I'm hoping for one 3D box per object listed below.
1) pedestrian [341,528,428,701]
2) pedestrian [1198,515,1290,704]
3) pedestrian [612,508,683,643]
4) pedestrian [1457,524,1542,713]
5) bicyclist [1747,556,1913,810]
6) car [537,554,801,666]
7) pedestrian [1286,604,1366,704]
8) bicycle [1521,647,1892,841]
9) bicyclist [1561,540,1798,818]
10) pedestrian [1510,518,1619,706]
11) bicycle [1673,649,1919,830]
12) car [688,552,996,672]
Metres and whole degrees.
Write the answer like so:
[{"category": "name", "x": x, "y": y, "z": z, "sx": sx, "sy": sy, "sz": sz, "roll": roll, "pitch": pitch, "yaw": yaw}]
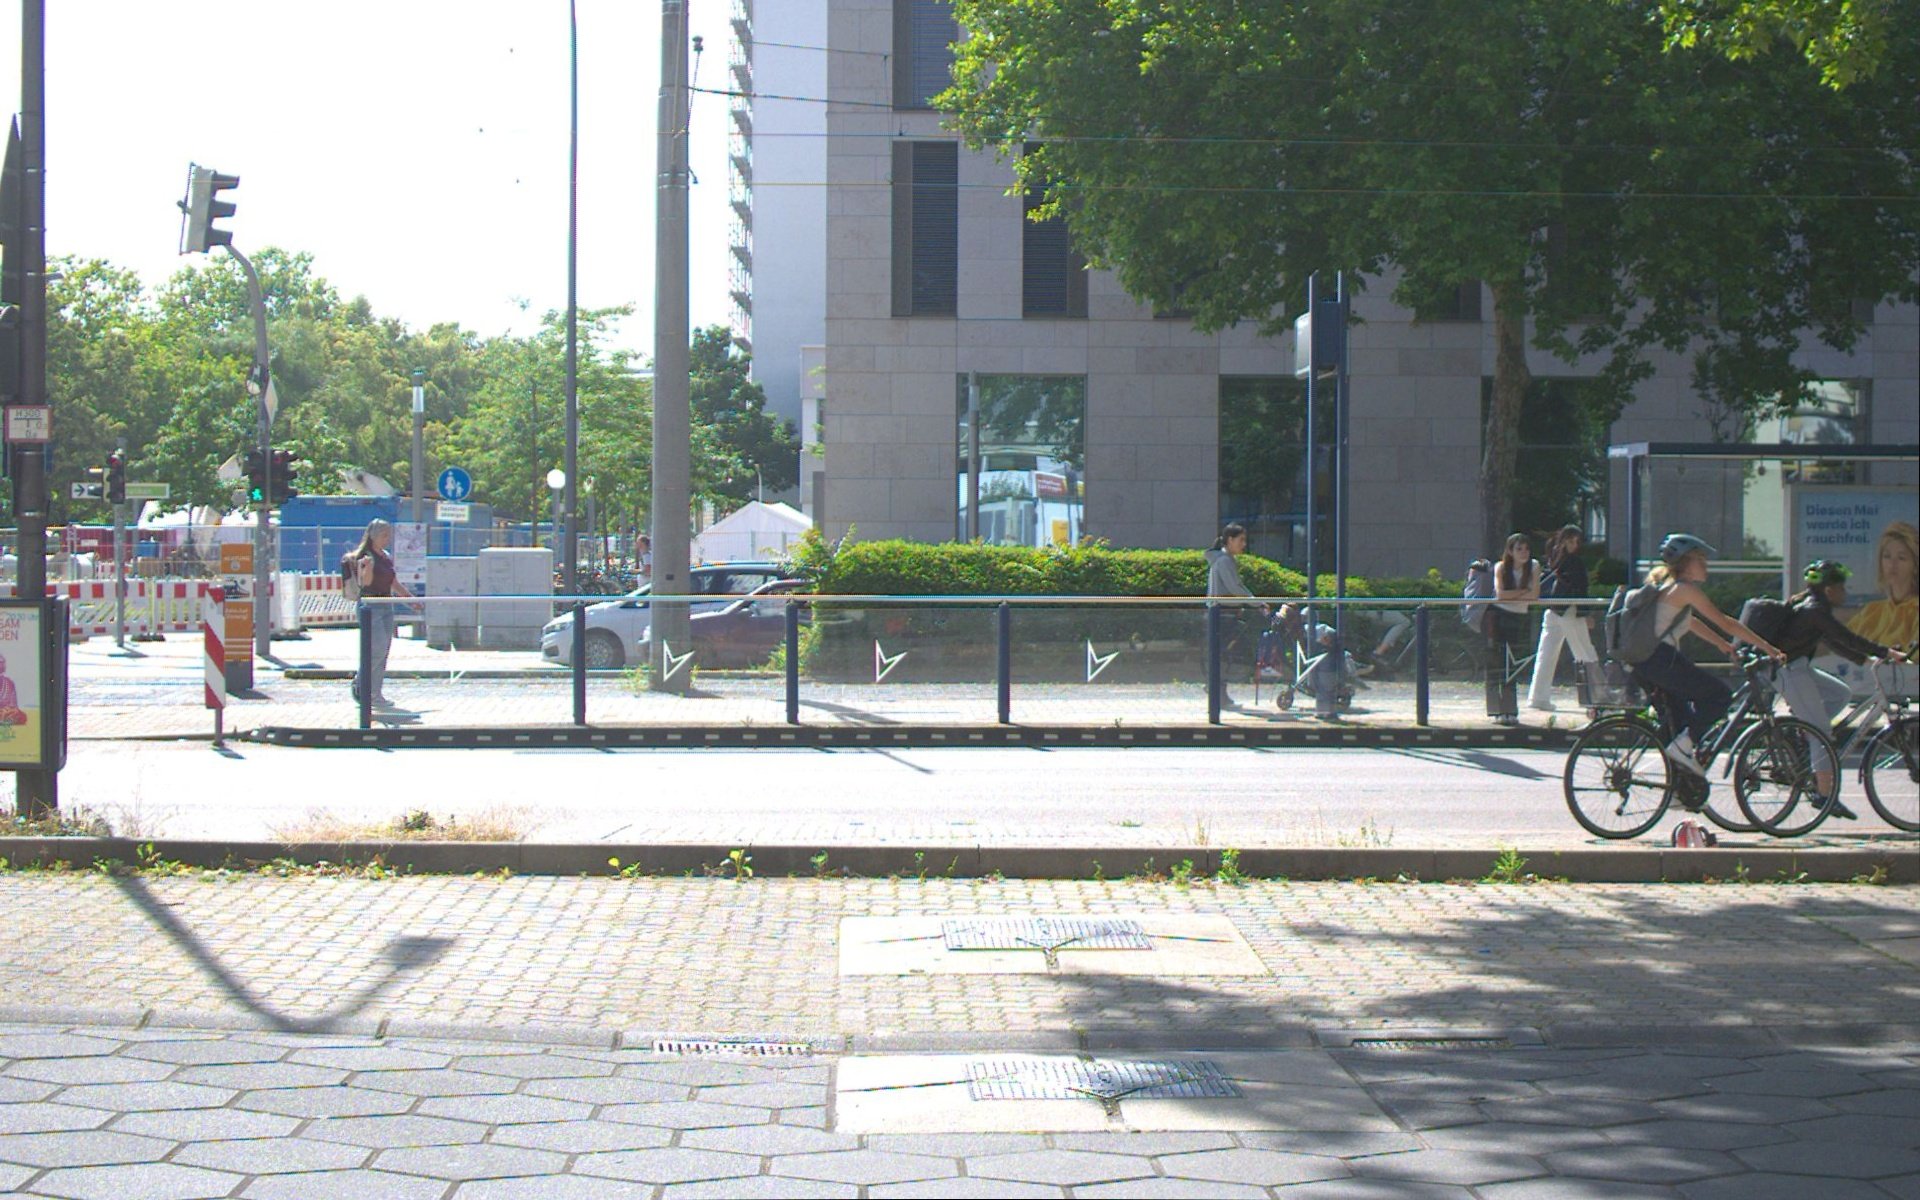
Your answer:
[{"category": "pedestrian", "x": -5.180, "y": 0.124, "z": 30.948, "sx": 0.650, "sy": 1.535, "sz": 0.503, "roll": 1, "pitch": 1, "yaw": 8}, {"category": "pedestrian", "x": 2.549, "y": 0.081, "z": 30.830, "sx": 0.777, "sy": 1.677, "sz": 0.503, "roll": 1, "pitch": 1, "yaw": 8}, {"category": "pedestrian", "x": -5.245, "y": -0.422, "z": 57.773, "sx": 1.108, "sy": 2.240, "sz": 1.103, "roll": 0, "pitch": 1, "yaw": -1}, {"category": "pedestrian", "x": 4.628, "y": 0.148, "z": 29.523, "sx": 0.584, "sy": 1.586, "sz": 0.670, "roll": 0, "pitch": 2, "yaw": -2}, {"category": "bicyclist", "x": 5.363, "y": 0.503, "z": 21.214, "sx": 0.862, "sy": 1.539, "sz": 0.535, "roll": 1, "pitch": 0, "yaw": -1}, {"category": "car", "x": -4.161, "y": 0.135, "z": 48.995, "sx": 3.681, "sy": 1.546, "sz": 1.592, "roll": 0, "pitch": 1, "yaw": -7}, {"category": "pedestrian", "x": 3.277, "y": 0.478, "z": 30.742, "sx": 0.691, "sy": 0.877, "sz": 0.503, "roll": 1, "pitch": 1, "yaw": 7}, {"category": "bicycle", "x": 4.338, "y": 0.822, "z": 19.999, "sx": 2.019, "sy": 1.078, "sz": 0.640, "roll": 0, "pitch": 1, "yaw": -13}, {"category": "bicyclist", "x": 4.170, "y": 0.446, "z": 19.962, "sx": 1.169, "sy": 1.575, "sz": 0.640, "roll": 0, "pitch": 1, "yaw": -13}, {"category": "pedestrian", "x": 5.435, "y": 0.102, "z": 30.942, "sx": 0.932, "sy": 1.677, "sz": 0.503, "roll": 1, "pitch": 1, "yaw": 8}, {"category": "bicycle", "x": 5.396, "y": 0.859, "z": 21.214, "sx": 1.861, "sy": 1.078, "sz": 0.525, "roll": 0, "pitch": 1, "yaw": -2}, {"category": "car", "x": -1.612, "y": 0.148, "z": 46.111, "sx": 3.986, "sy": 1.546, "sz": 1.703, "roll": 0, "pitch": 1, "yaw": -7}]
